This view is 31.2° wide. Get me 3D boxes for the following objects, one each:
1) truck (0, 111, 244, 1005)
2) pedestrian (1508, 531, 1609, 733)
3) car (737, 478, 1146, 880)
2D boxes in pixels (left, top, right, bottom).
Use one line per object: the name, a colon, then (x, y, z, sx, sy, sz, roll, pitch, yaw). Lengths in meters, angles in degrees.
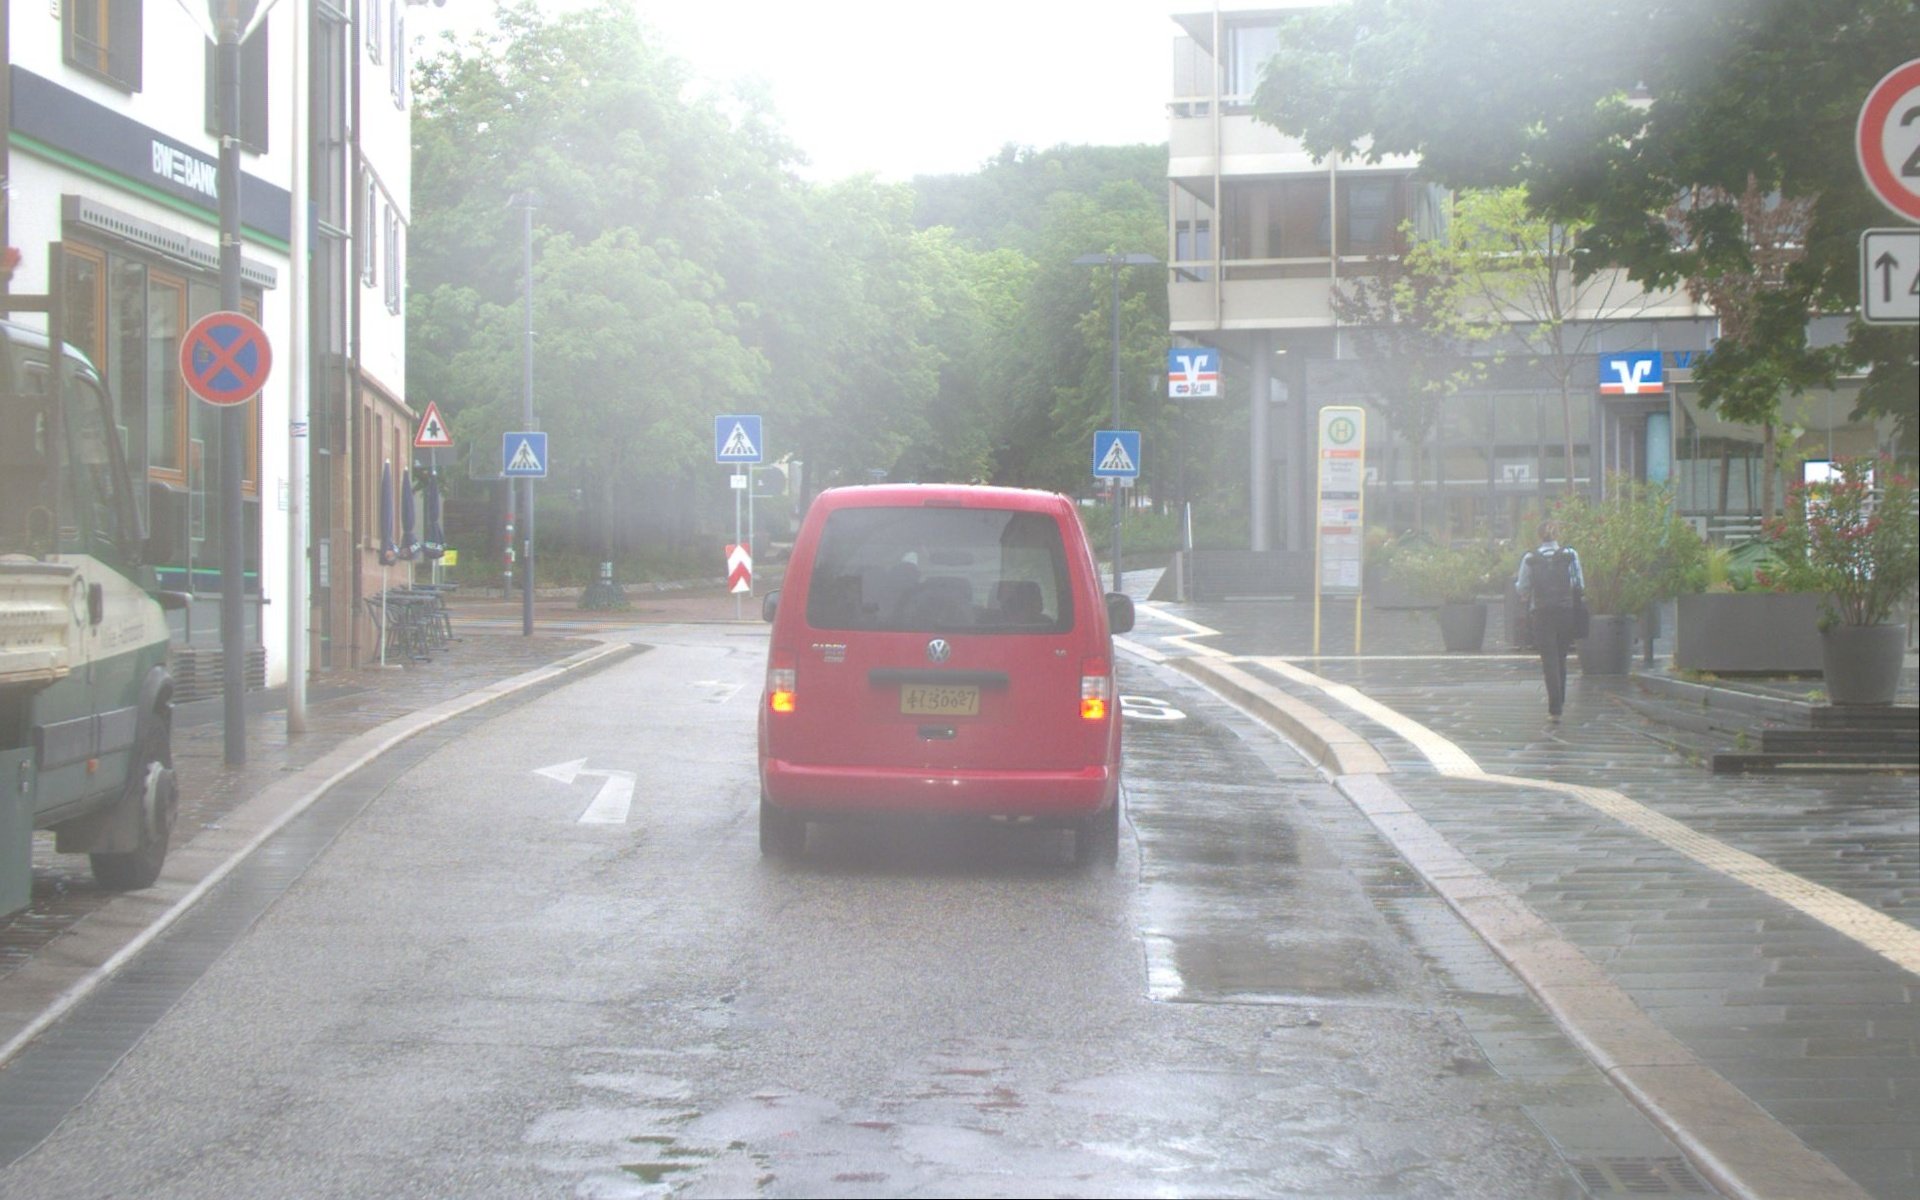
truck: (-4.305, -0.166, 12.085, 2.473, 2.785, 6.601, -1, 2, -3)
pedestrian: (4.856, 0.253, 27.942, 0.728, 1.611, 0.693, -1, 0, 5)
car: (-0.143, 0.339, 17.742, 1.862, 1.824, 4.185, 0, 1, -2)
